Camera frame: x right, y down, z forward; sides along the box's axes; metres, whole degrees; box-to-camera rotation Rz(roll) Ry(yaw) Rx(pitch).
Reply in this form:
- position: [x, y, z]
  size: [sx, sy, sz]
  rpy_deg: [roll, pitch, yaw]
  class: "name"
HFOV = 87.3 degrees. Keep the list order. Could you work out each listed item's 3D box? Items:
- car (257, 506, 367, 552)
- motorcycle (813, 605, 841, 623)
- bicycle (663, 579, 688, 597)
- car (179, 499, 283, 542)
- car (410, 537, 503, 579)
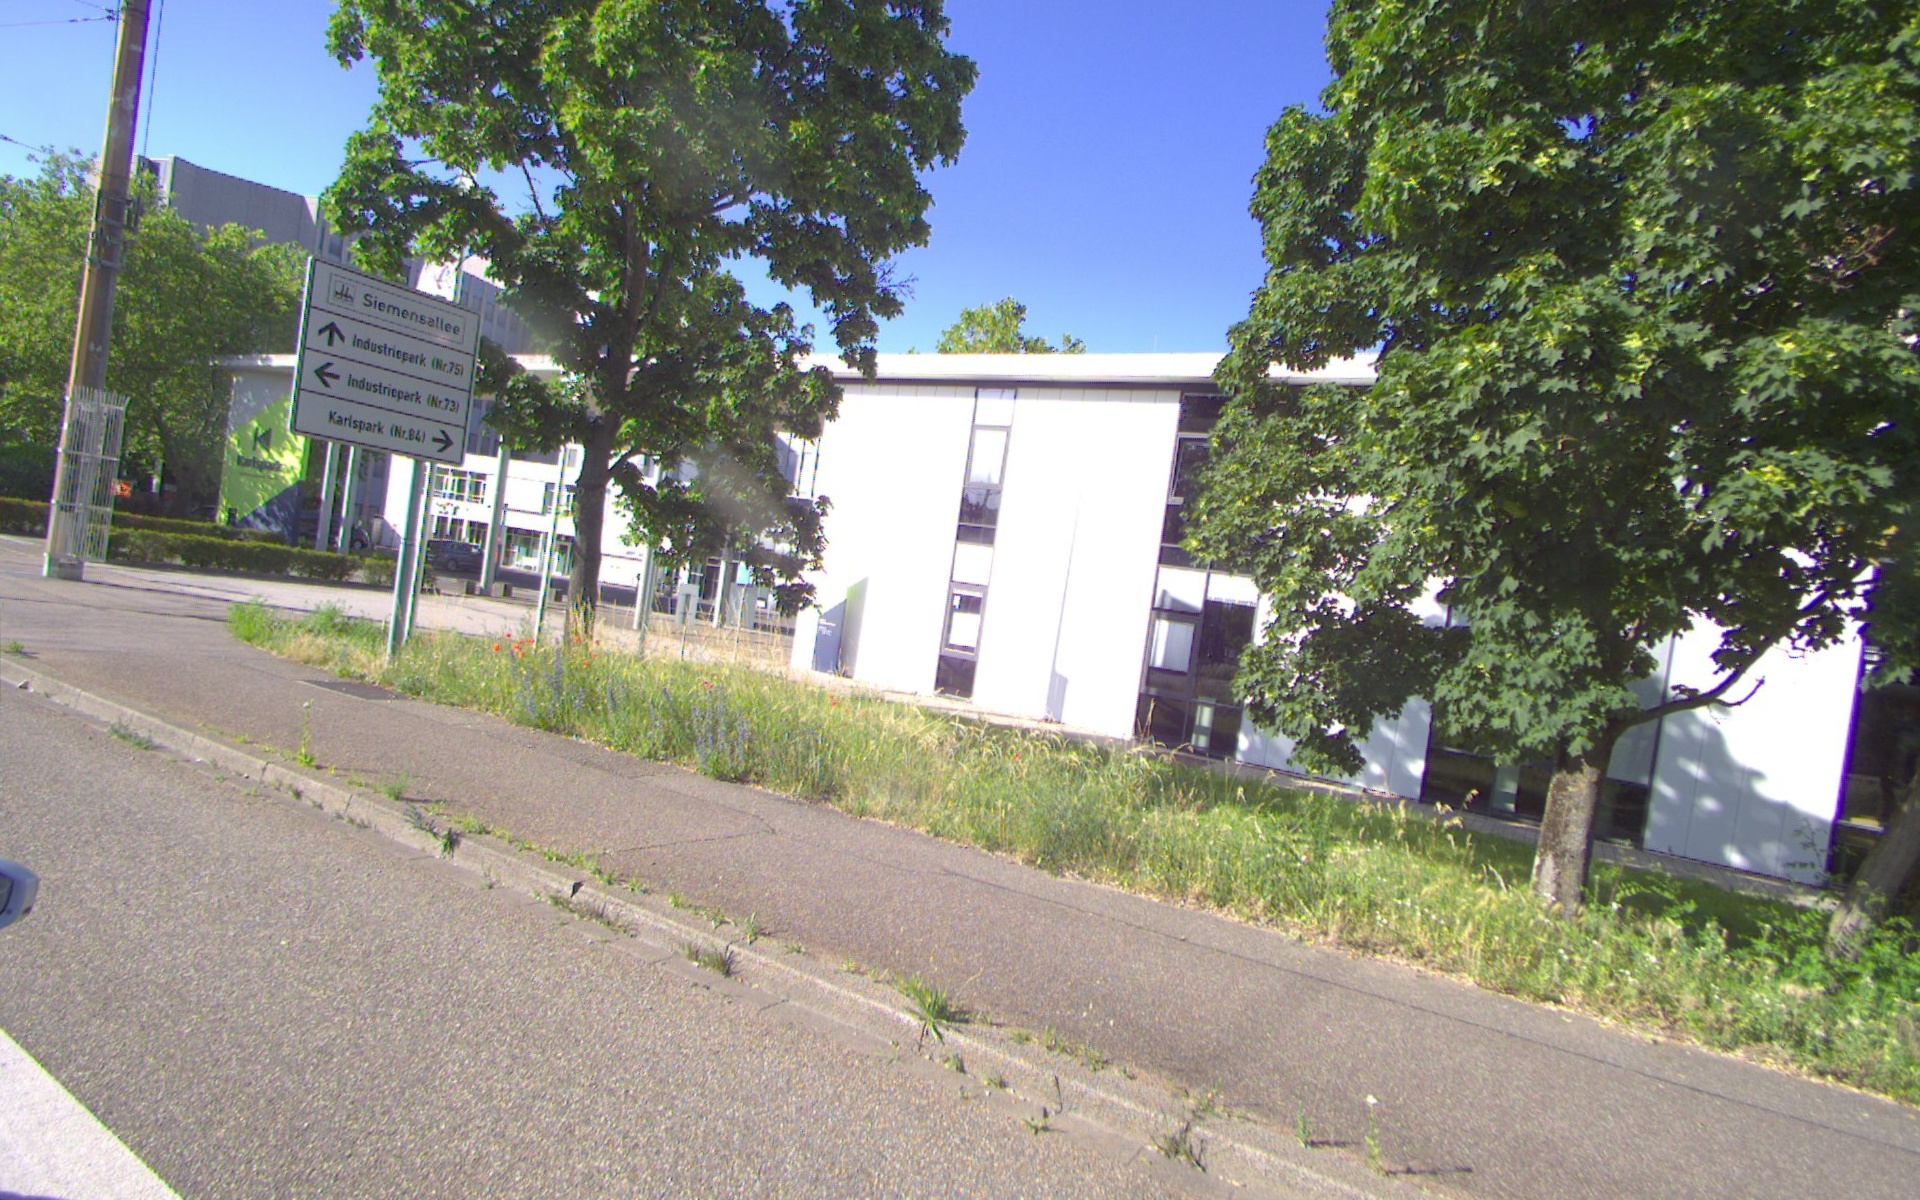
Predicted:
- position: [-36.282, -3.951, 56.509]
  size: [2.052, 1.778, 4.900]
  rpy_deg: [8, -1, 17]
  class: "car"
- position: [-8.977, 0.918, 67.858]
  size: [1.701, 0.959, 0.653]
  rpy_deg: [8, 0, 17]
  class: "motorcycle"
- position: [-20.262, -0.862, 71.670]
  size: [1.591, 1.016, 0.566]
  rpy_deg: [8, 0, 17]
  class: "bicycle"
- position: [-42.658, -4.637, 58.968]
  size: [1.861, 1.706, 4.468]
  rpy_deg: [8, -1, 26]
  class: "car"
- position: [-26.680, -2.208, 53.452]
  size: [1.918, 1.597, 4.000]
  rpy_deg: [8, -1, 23]
  class: "car"
